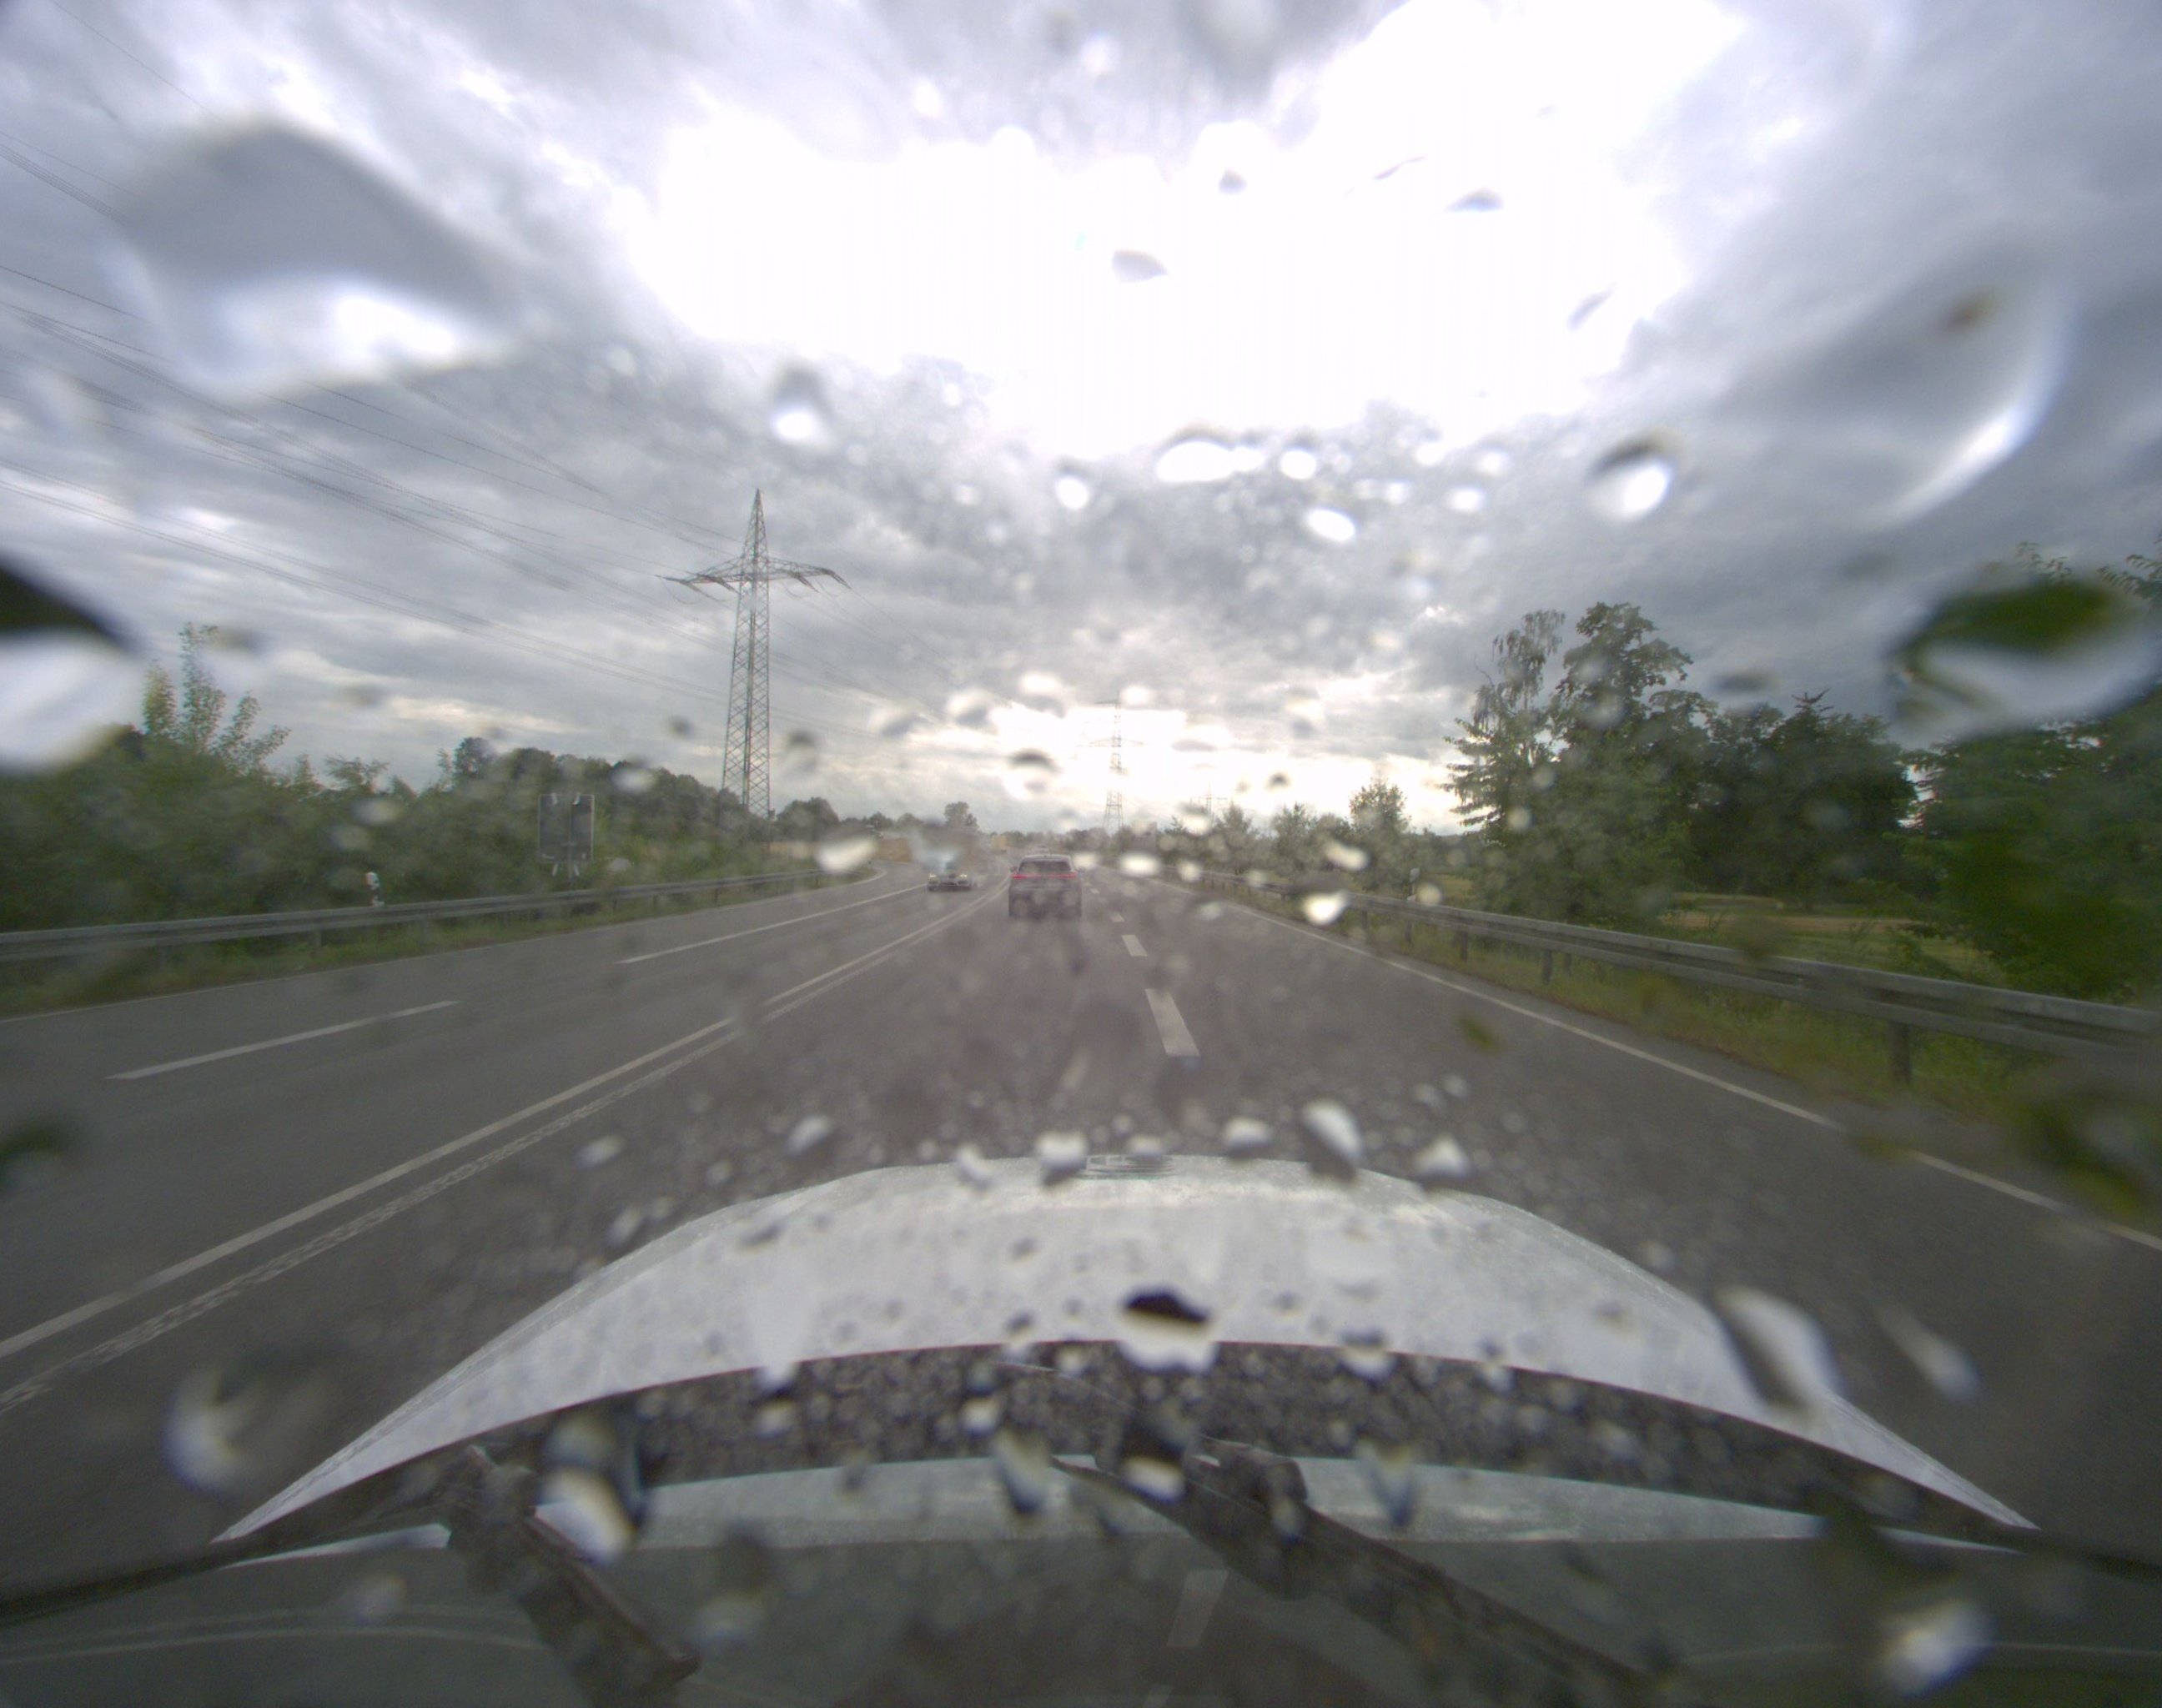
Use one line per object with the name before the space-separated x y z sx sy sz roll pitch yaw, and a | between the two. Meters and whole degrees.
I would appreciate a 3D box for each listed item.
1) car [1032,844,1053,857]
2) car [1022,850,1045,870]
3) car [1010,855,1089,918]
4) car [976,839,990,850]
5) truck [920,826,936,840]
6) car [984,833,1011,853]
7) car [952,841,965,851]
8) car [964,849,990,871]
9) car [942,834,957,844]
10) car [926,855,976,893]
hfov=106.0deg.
car | -4.869 -0.468 102.699 1.794 1.541 3.980 1 0 -15
car | -3.862 0.502 66.551 1.787 1.441 3.996 2 -1 -2
car | -0.805 0.800 20.927 1.787 1.441 3.996 1 -1 -2
car | -16.731 -1.638 138.953 1.794 1.687 3.980 -2 1 -15
truck | -38.536 -5.293 204.700 3.053 3.384 7.601 0 0 -17
car | -11.966 -1.597 115.861 2.578 2.725 7.157 -1 1 -16
car | -20.456 -1.283 135.816 1.801 1.593 4.209 0 2 -12
car | -7.843 0.429 61.858 1.797 1.575 4.251 -1 0 -6
car | -29.434 -3.341 182.061 2.607 2.250 5.506 0 0 -15
car | -5.399 0.785 34.244 1.676 1.457 4.069 2 0 -4
